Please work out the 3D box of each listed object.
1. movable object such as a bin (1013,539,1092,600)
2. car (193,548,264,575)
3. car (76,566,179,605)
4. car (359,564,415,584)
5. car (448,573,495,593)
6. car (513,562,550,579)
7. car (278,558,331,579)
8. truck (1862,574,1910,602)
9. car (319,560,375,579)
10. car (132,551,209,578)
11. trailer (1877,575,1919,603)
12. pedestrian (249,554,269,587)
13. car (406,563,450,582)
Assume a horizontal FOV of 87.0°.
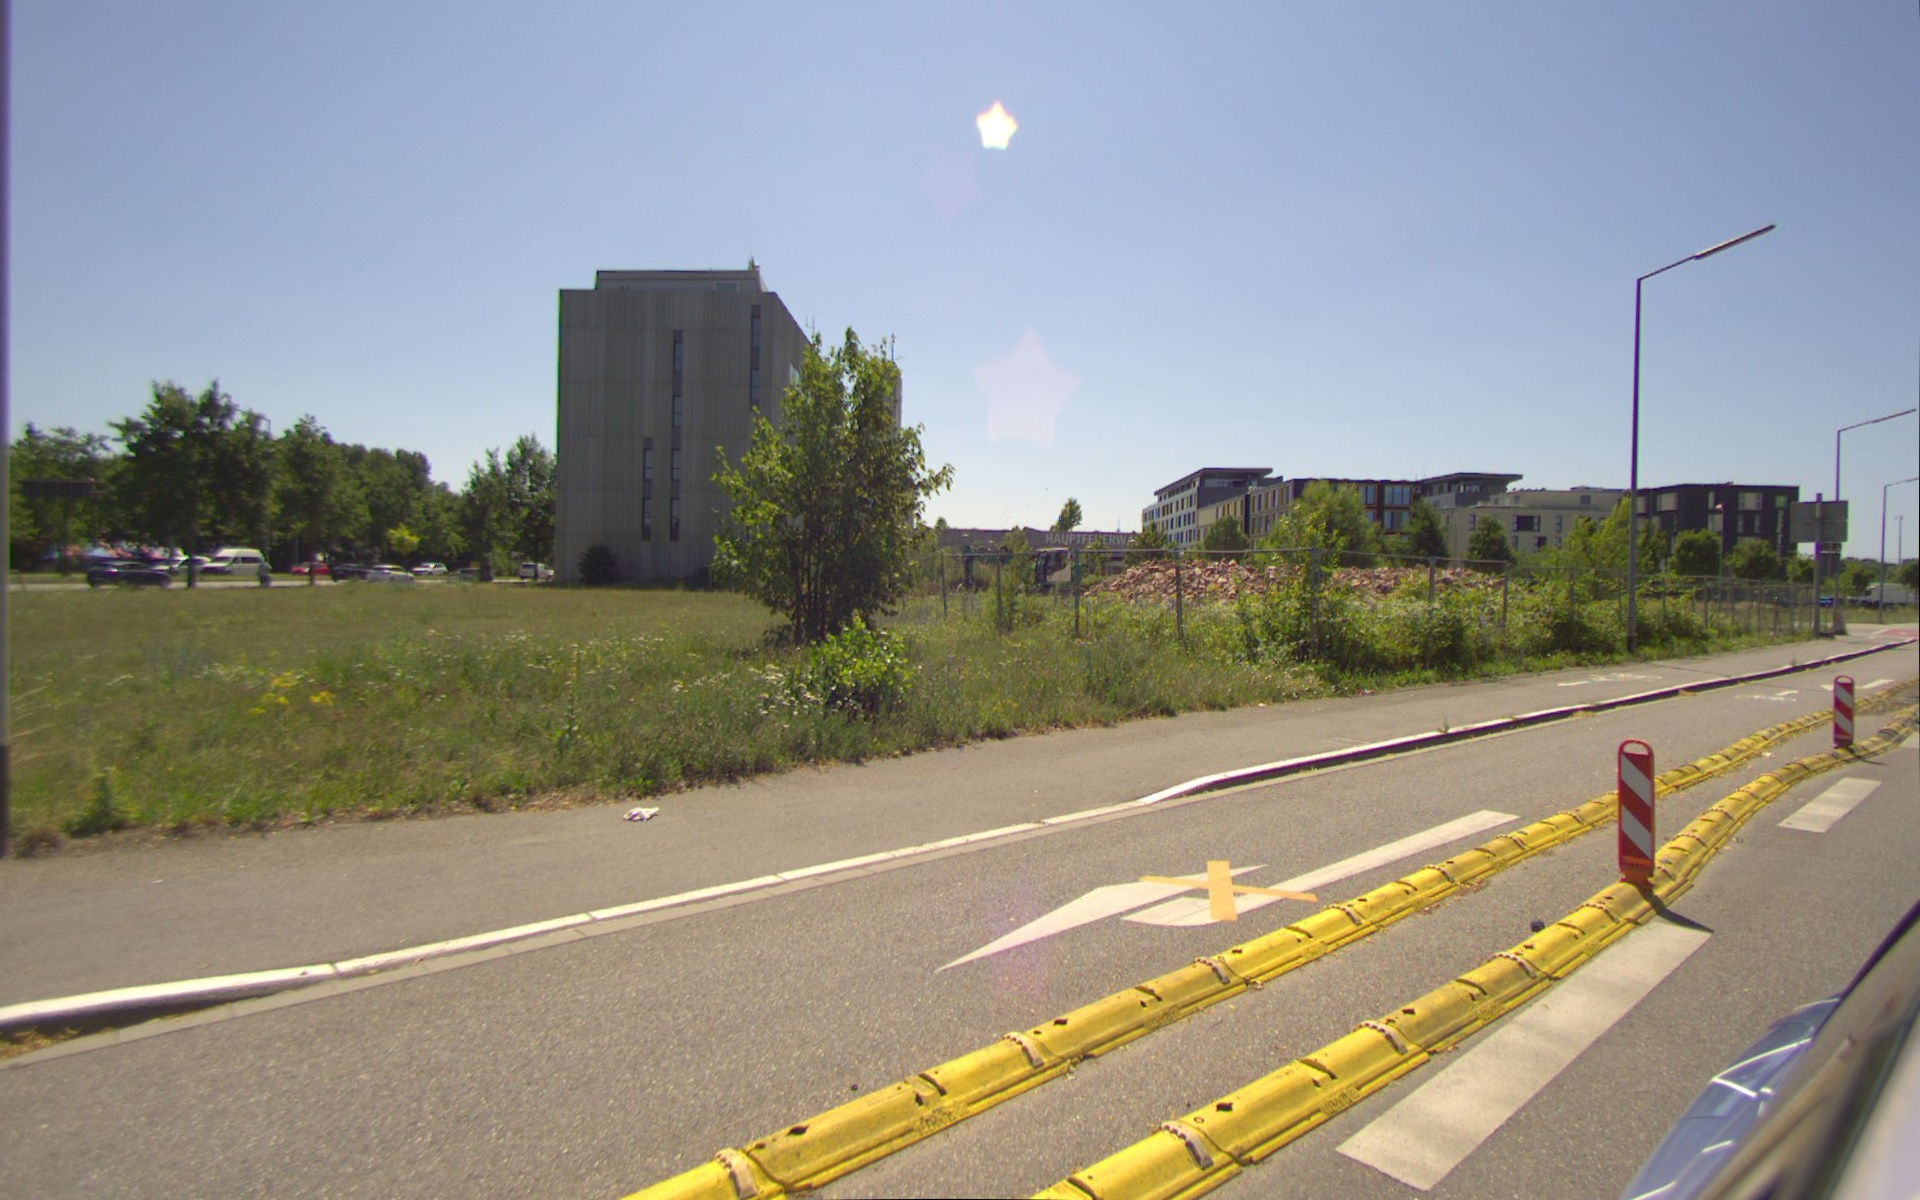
[{"bbox_3d":[4.935,-1.588,53.956,3.619,3.101,2.207,0,1,-35],"label":"movable object such as a bin"},{"bbox_3d":[-58.704,-3.046,81.320,1.963,2.039,5.083,0,1,2],"label":"car"},{"bbox_3d":[-44.614,-0.777,54.356,1.967,2.039,3.990,0,1,9],"label":"car"},{"bbox_3d":[-42.305,-1.906,74.851,1.604,1.462,4.015,0,1,6],"label":"car"},{"bbox_3d":[-42.741,-1.460,88.638,1.961,1.727,4.942,0,1,-3],"label":"car"},{"bbox_3d":[-47.871,-3.297,113.251,1.963,1.873,4.985,0,1,2],"label":"car"},{"bbox_3d":[-61.703,-2.929,95.393,1.963,1.873,4.603,0,1,2],"label":"car"},{"bbox_3d":[115.868,-1.469,126.704,3.928,3.377,1.998,1,1,4],"label":"truck"},{"bbox_3d":[-47.391,-2.359,78.326,1.961,1.425,4.001,0,1,-1],"label":"car"},{"bbox_3d":[-62.085,-2.742,79.726,1.963,2.039,5.083,0,1,2],"label":"car"},{"bbox_3d":[119.664,-1.350,126.406,8.030,3.390,1.998,1,1,4],"label":"trailer"},{"bbox_3d":[-34.025,-1.436,49.116,0.489,1.583,0.737,0,0,-1],"label":"pedestrian"},{"bbox_3d":[-57.821,-2.994,110.025,1.963,2.039,5.083,0,1,2],"label":"car"}]
